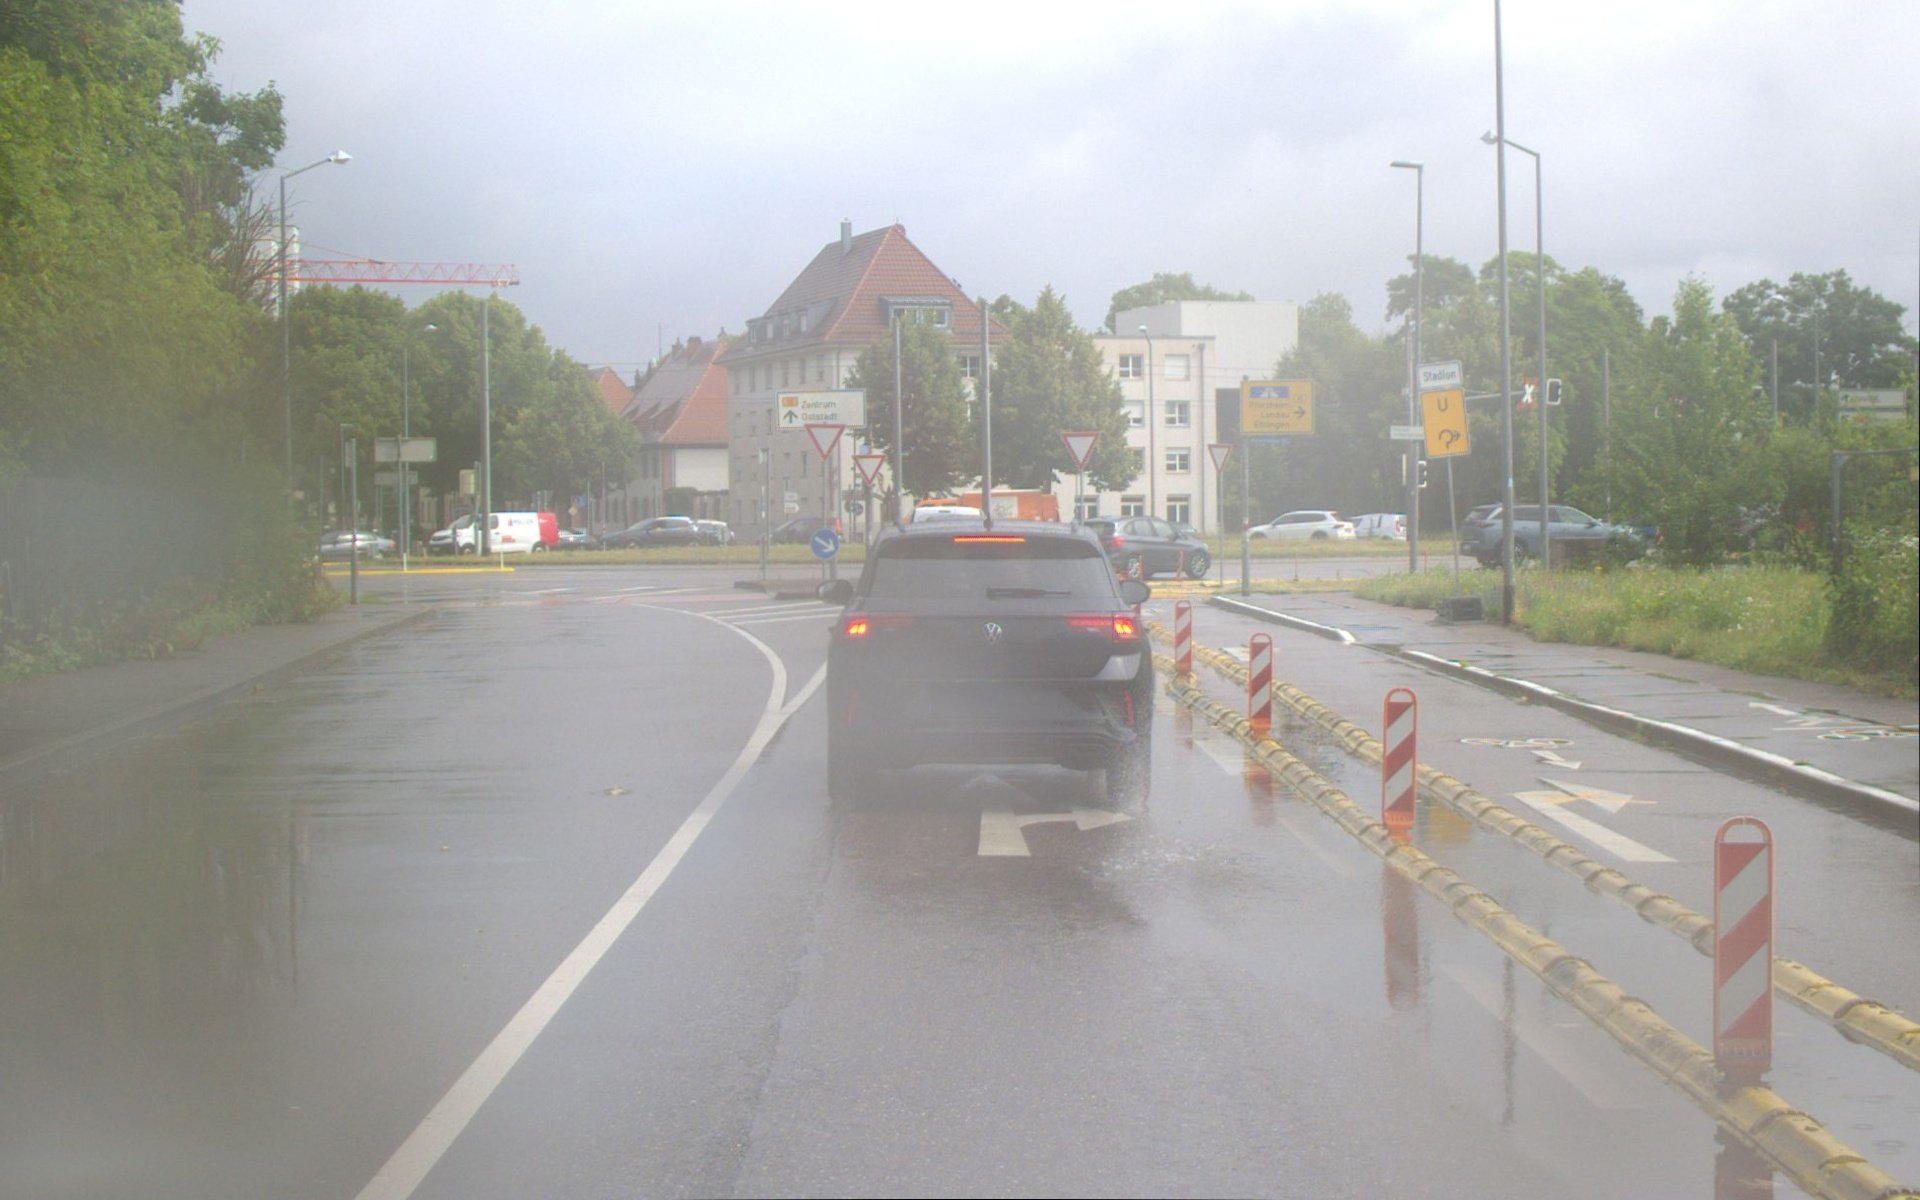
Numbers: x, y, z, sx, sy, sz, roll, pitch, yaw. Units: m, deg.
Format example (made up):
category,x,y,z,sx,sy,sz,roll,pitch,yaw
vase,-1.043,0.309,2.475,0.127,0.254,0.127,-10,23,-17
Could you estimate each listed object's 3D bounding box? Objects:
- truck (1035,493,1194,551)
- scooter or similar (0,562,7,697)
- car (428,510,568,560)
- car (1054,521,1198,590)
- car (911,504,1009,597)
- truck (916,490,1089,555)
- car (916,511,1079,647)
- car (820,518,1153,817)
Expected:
category,x,y,z,sx,sy,sz,roll,pitch,yaw
truck,6.747,-3.401,149.864,6.704,2.434,2.433,0,1,8
scooter or similar,-8.542,0.261,29.438,0.562,1.158,1.209,-1,1,-7
car,-17.975,-2.548,133.768,5.117,1.870,1.894,-2,2,-37
car,4.051,-1.106,83.418,1.669,1.639,3.947,1,2,34
car,0.026,-1.011,68.791,1.864,1.803,4.404,0,1,1
truck,1.777,-3.205,141.863,7.066,2.641,2.330,0,1,2
car,0.396,-0.279,40.076,1.735,1.509,3.604,0,1,-2
car,0.066,0.328,20.051,1.708,1.568,3.683,1,1,-3
